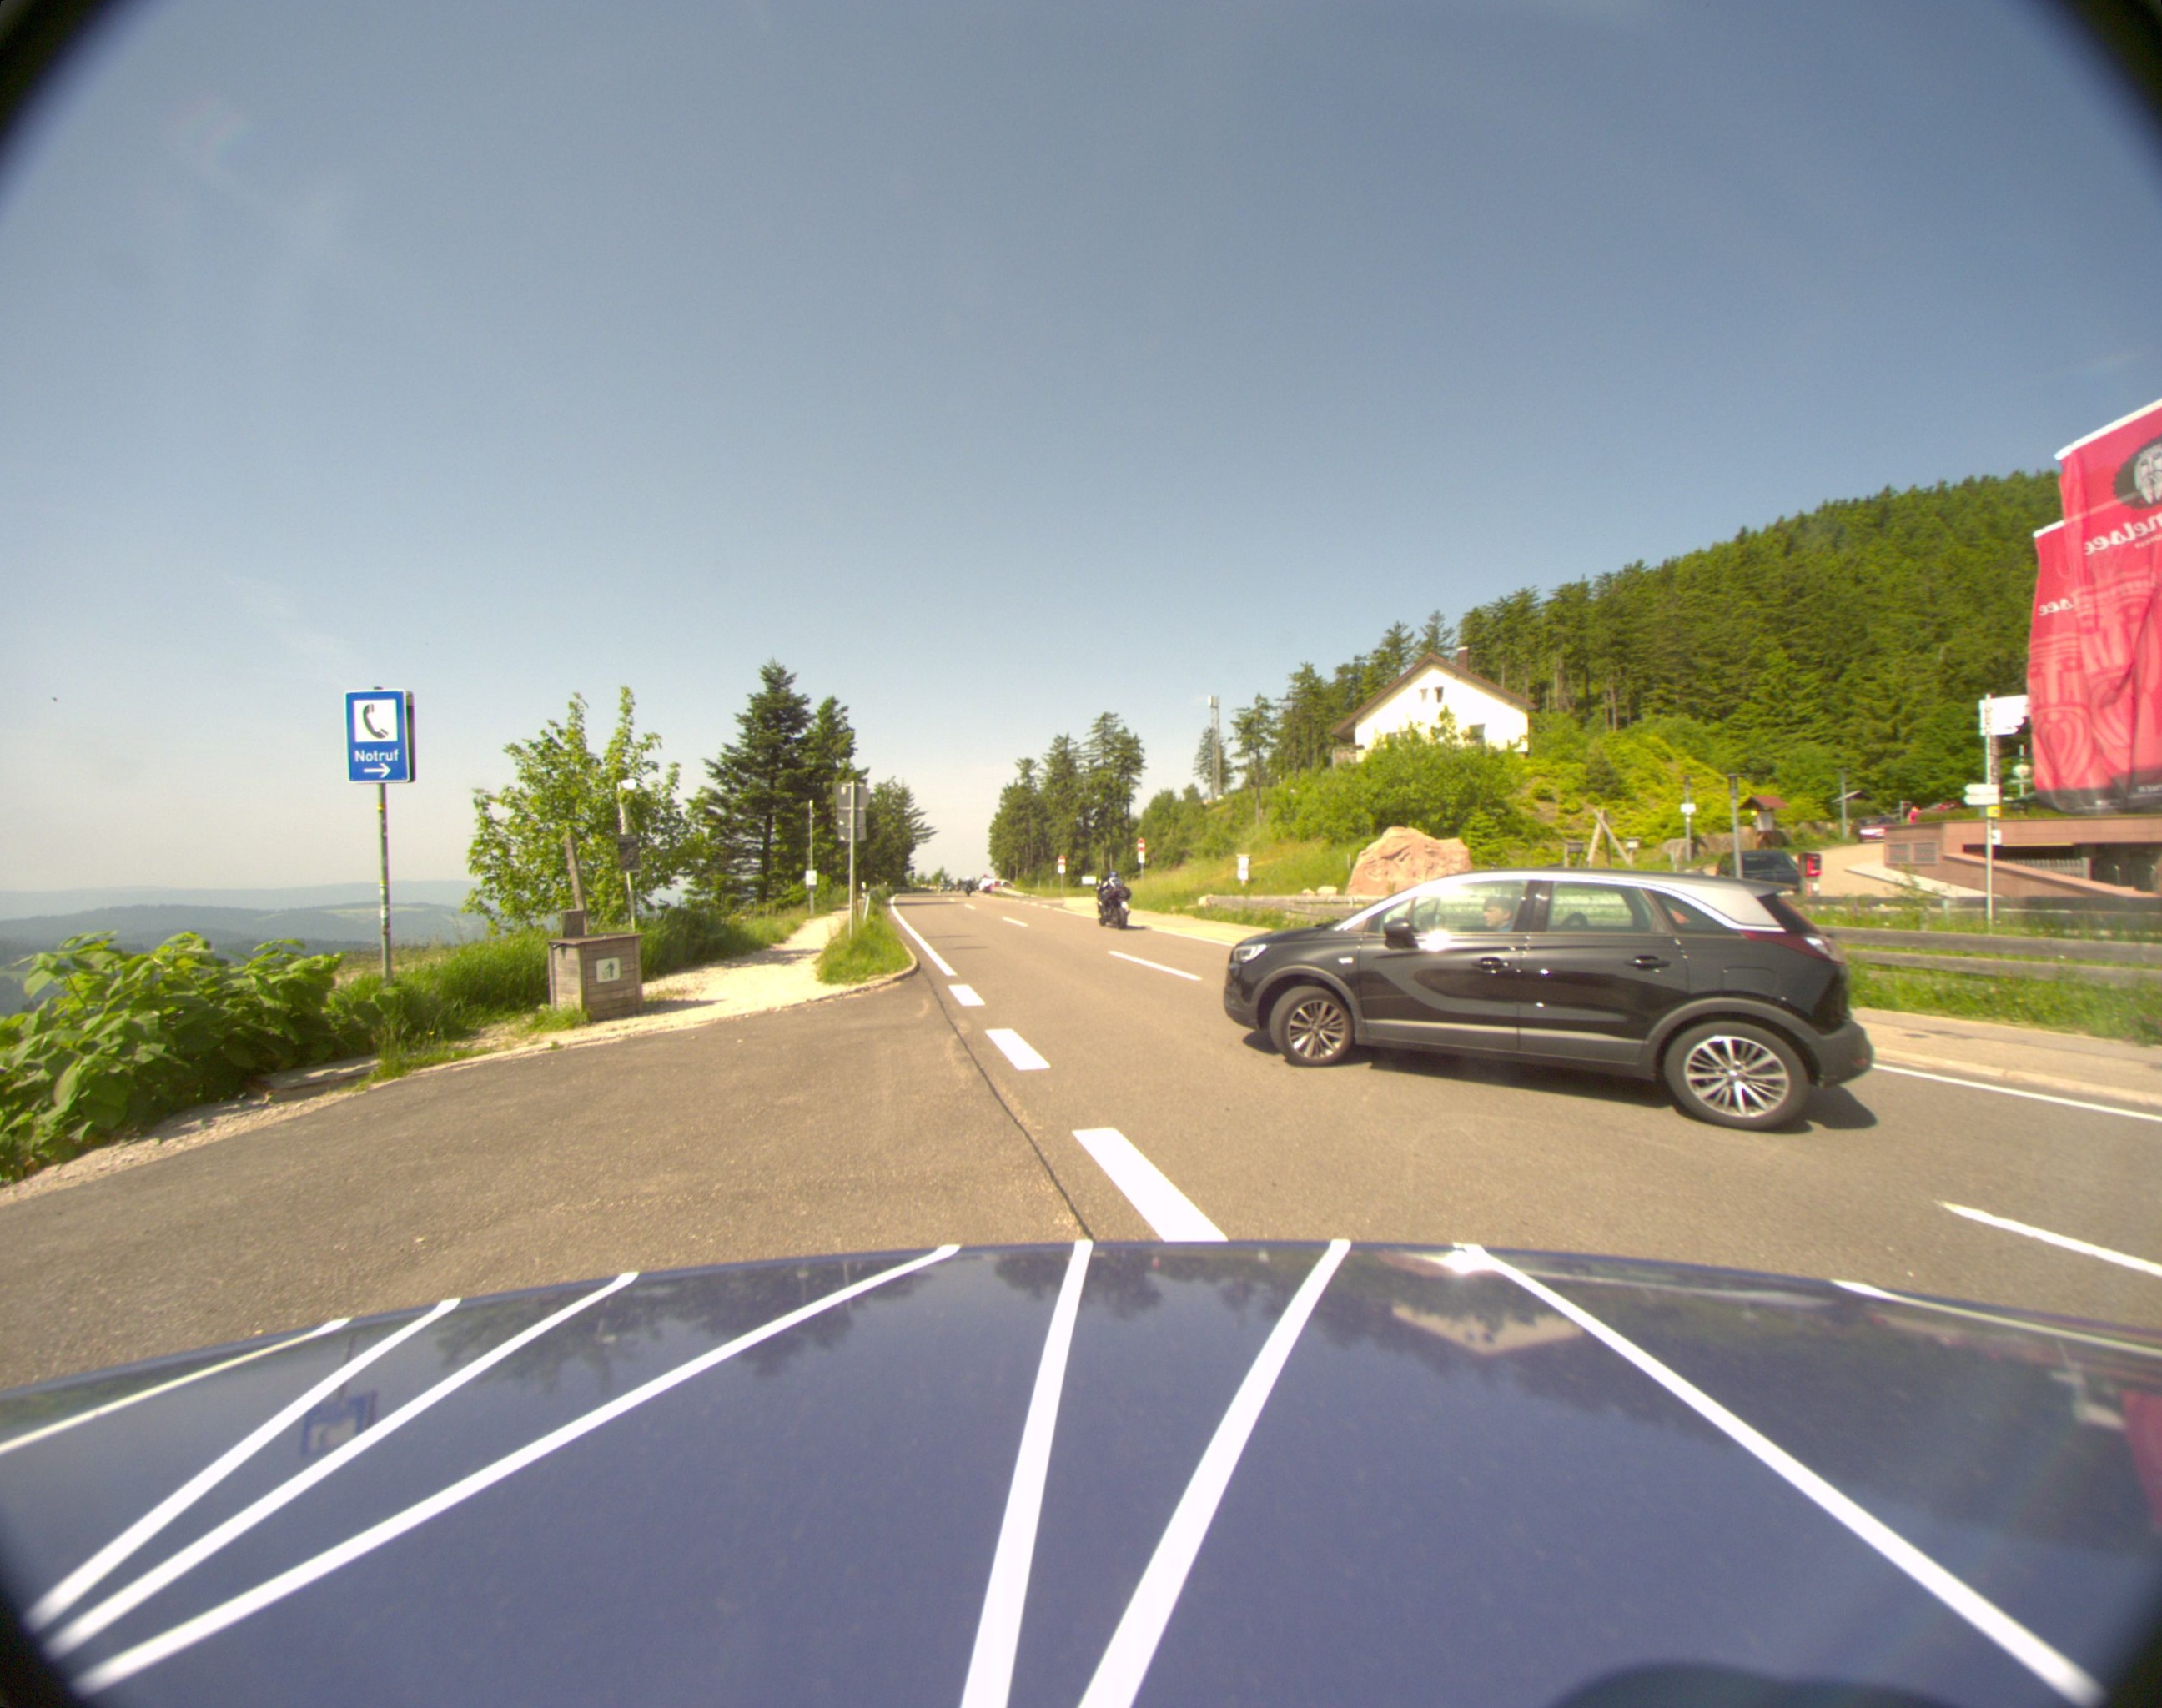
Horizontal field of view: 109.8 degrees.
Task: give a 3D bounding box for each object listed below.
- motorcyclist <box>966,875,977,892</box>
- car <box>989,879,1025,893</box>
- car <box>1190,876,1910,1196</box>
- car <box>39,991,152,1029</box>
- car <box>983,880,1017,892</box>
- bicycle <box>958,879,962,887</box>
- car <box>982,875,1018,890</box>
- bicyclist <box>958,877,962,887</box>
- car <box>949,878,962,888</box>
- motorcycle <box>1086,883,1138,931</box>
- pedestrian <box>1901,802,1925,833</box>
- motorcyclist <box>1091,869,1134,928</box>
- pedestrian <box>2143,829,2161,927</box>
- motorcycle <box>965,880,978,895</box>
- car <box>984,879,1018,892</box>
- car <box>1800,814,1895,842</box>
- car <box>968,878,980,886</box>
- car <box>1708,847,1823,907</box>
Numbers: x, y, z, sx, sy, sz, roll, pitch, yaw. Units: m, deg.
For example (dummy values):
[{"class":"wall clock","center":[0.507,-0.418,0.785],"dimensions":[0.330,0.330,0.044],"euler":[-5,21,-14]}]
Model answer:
[{"class":"motorcyclist","center":[-9.267,2.509,64.347],"dimensions":[0.842,1.432,1.004],"euler":[2,0,-13]},{"class":"car","center":[-9.018,3.859,92.511],"dimensions":[4.164,1.501,1.931],"euler":[2,-2,-10]},{"class":"car","center":[3.180,1.004,5.950],"dimensions":[4.138,1.607,1.991],"euler":[-1,-1,35]},{"class":"car","center":[-53.692,8.500,41.451],"dimensions":[3.523,1.655,1.801],"euler":[0,-1,-6]},{"class":"car","center":[-10.088,3.956,94.972],"dimensions":[3.934,1.365,1.930],"euler":[2,-2,-14]},{"class":"bicycle","center":[-20.050,4.804,126.113],"dimensions":[0.546,1.220,1.858],"euler":[1,-1,-5]},{"class":"car","center":[-11.381,3.986,106.254],"dimensions":[4.735,1.870,1.930],"euler":[2,-2,-14]},{"class":"bicyclist","center":[-20.059,4.659,126.249],"dimensions":[0.546,1.518,0.679],"euler":[1,-1,-5]},{"class":"car","center":[-22.621,5.204,137.030],"dimensions":[2.000,1.586,3.998],"euler":[1,-2,-7]},{"class":"motorcycle","center":[0.870,1.516,22.253],"dimensions":[0.814,1.258,2.324],"euler":[0,-1,-17]},{"class":"pedestrian","center":[44.013,-1.930,40.179],"dimensions":[0.572,1.533,0.633],"euler":[-7,1,31]},{"class":"motorcyclist","center":[0.898,1.272,22.144],"dimensions":[0.882,1.632,1.297],"euler":[0,-1,-17]},{"class":"pedestrian","center":[19.174,0.418,13.081],"dimensions":[0.698,1.706,0.799],"euler":[0,0,19]},{"class":"motorcycle","center":[-9.256,2.833,64.230],"dimensions":[0.842,1.089,2.180],"euler":[2,0,-13]},{"class":"car","center":[-10.785,4.225,102.577],"dimensions":[4.248,1.516,1.930],"euler":[2,-2,-14]},{"class":"car","center":[40.110,-1.335,39.902],"dimensions":[1.546,1.308,3.855],"euler":[0,-1,9]},{"class":"car","center":[-20.691,5.408,147.275],"dimensions":[1.999,1.586,4.000],"euler":[1,-2,-4]},{"class":"car","center":[20.067,0.603,22.458],"dimensions":[1.874,1.347,4.005],"euler":[0,5,33]}]
